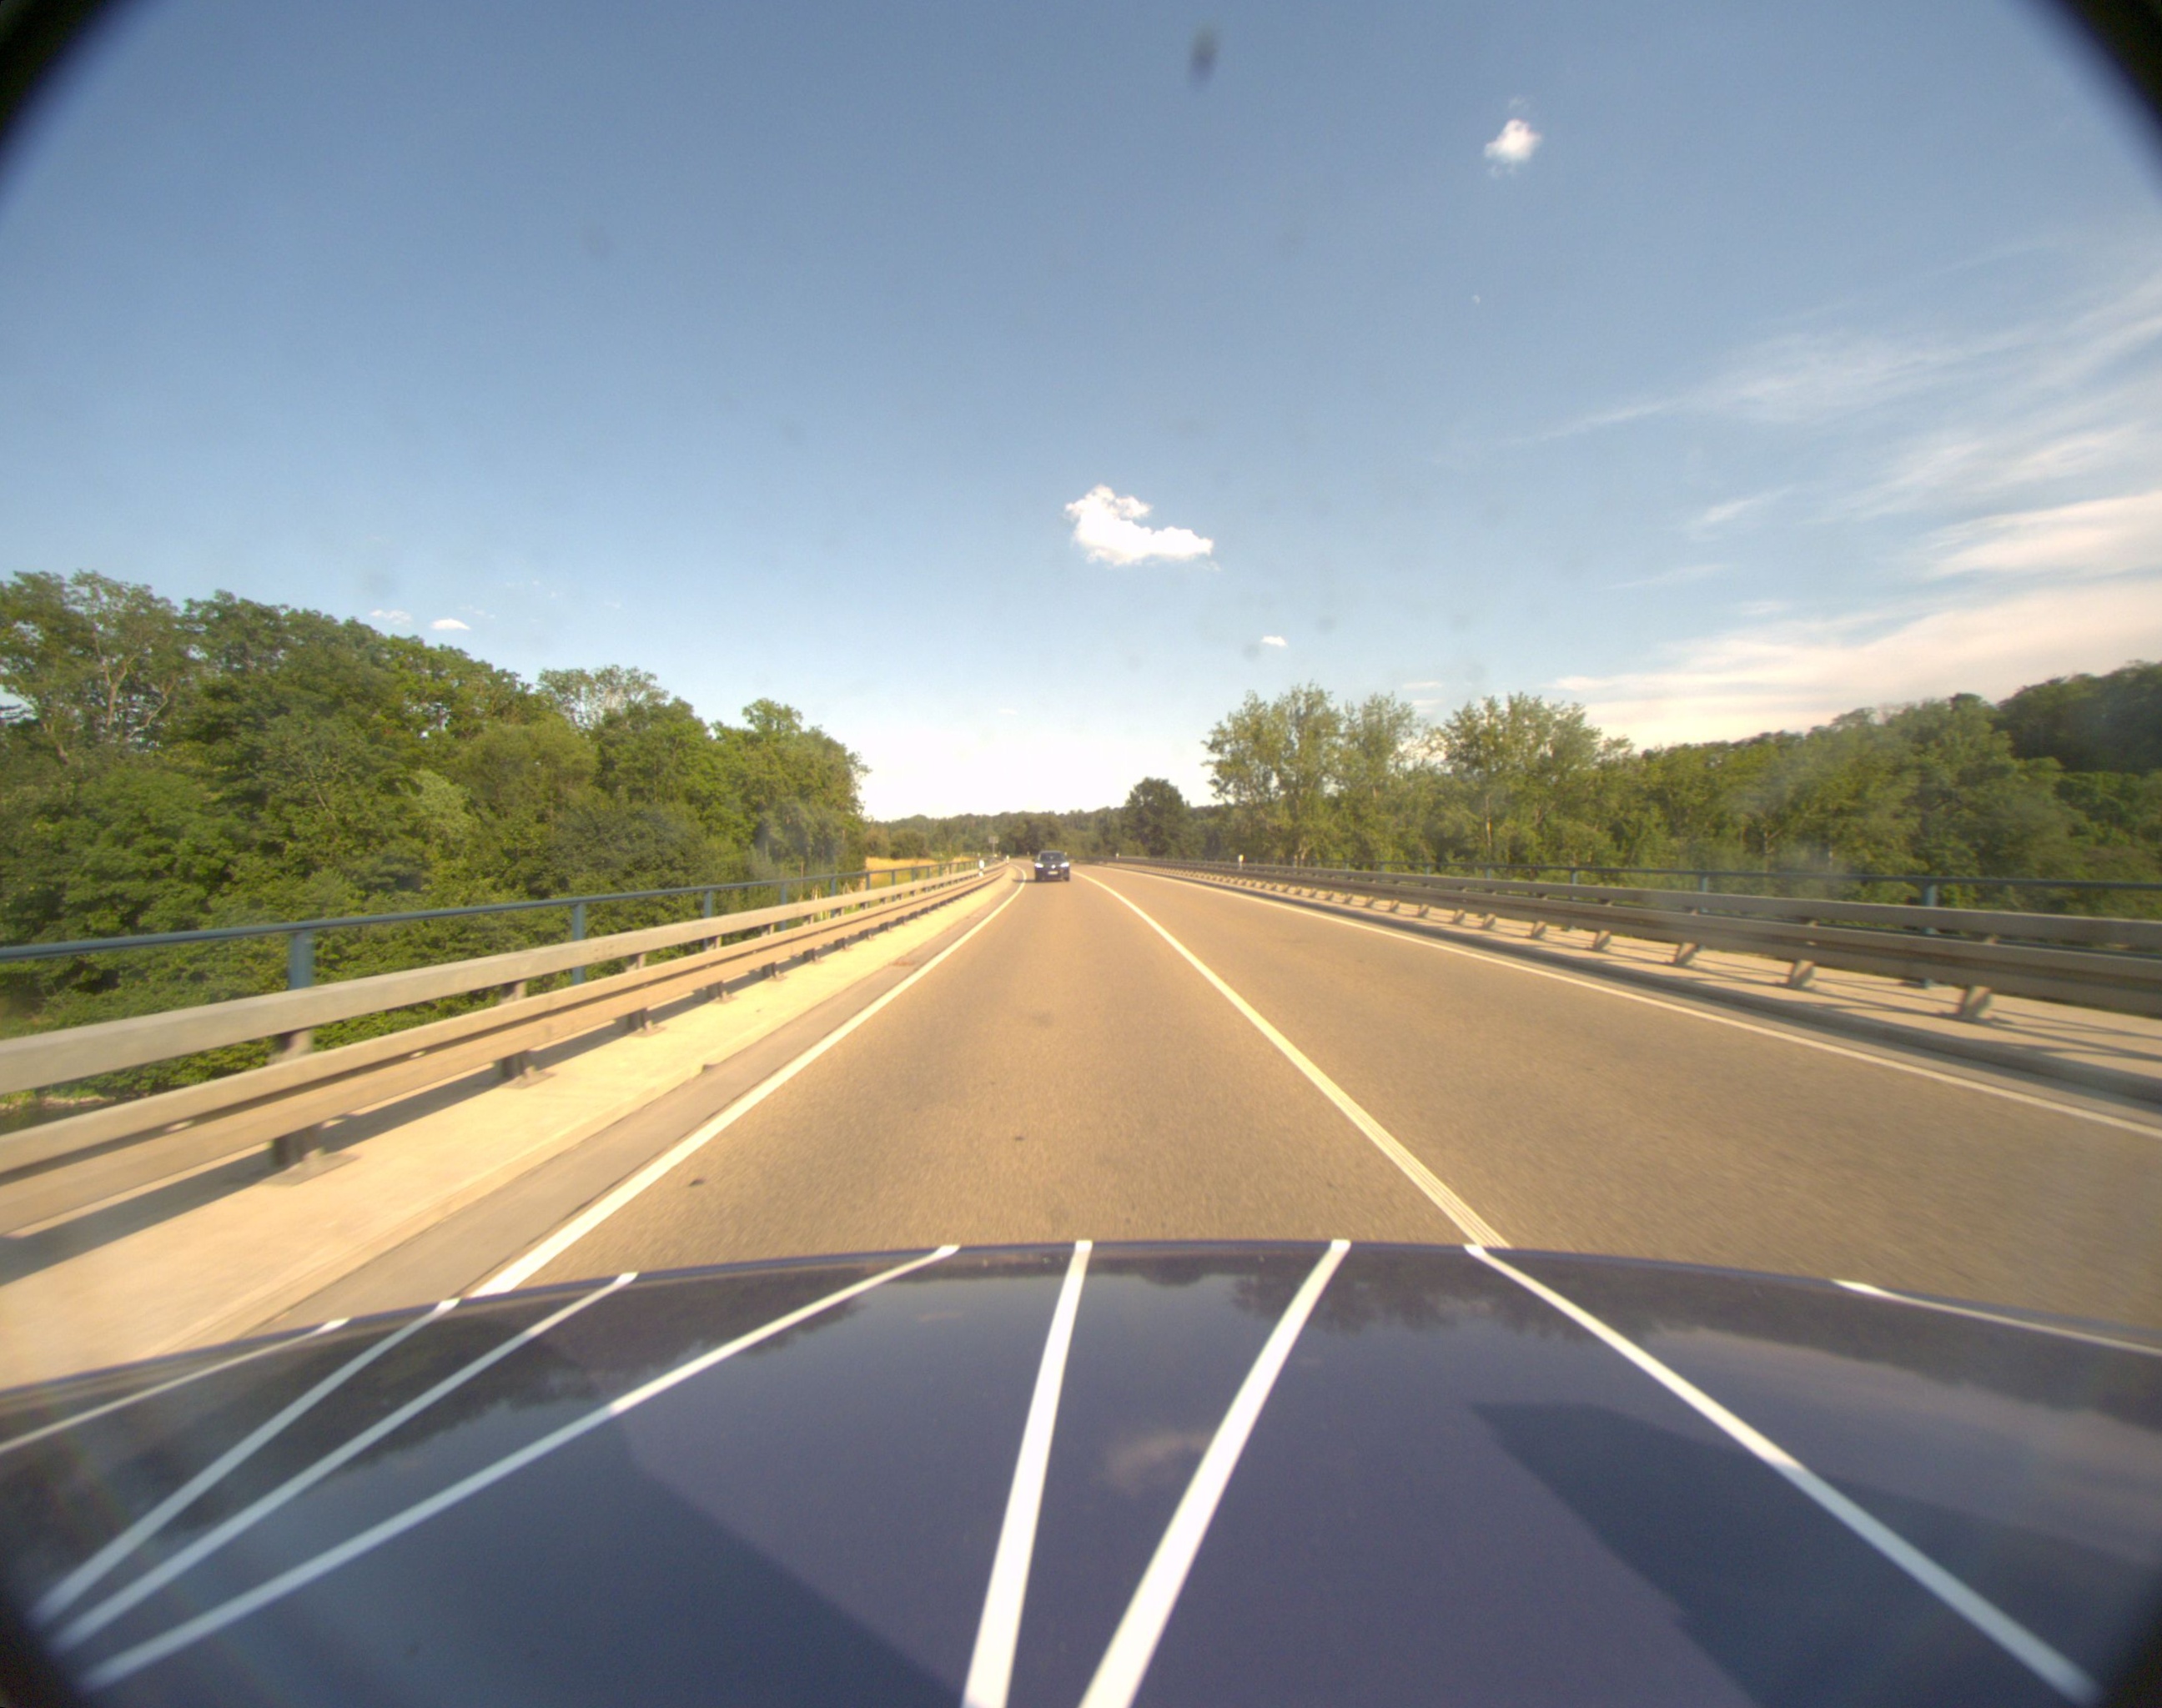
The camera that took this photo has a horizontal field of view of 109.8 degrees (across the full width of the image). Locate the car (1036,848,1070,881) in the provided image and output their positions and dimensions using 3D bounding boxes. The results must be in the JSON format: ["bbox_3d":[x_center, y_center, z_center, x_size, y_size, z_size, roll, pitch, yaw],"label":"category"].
[{"bbox_3d":[-1.506,0.531,41.336,1.751,1.645,4.304,-1,1,-2],"label":"car"}]
